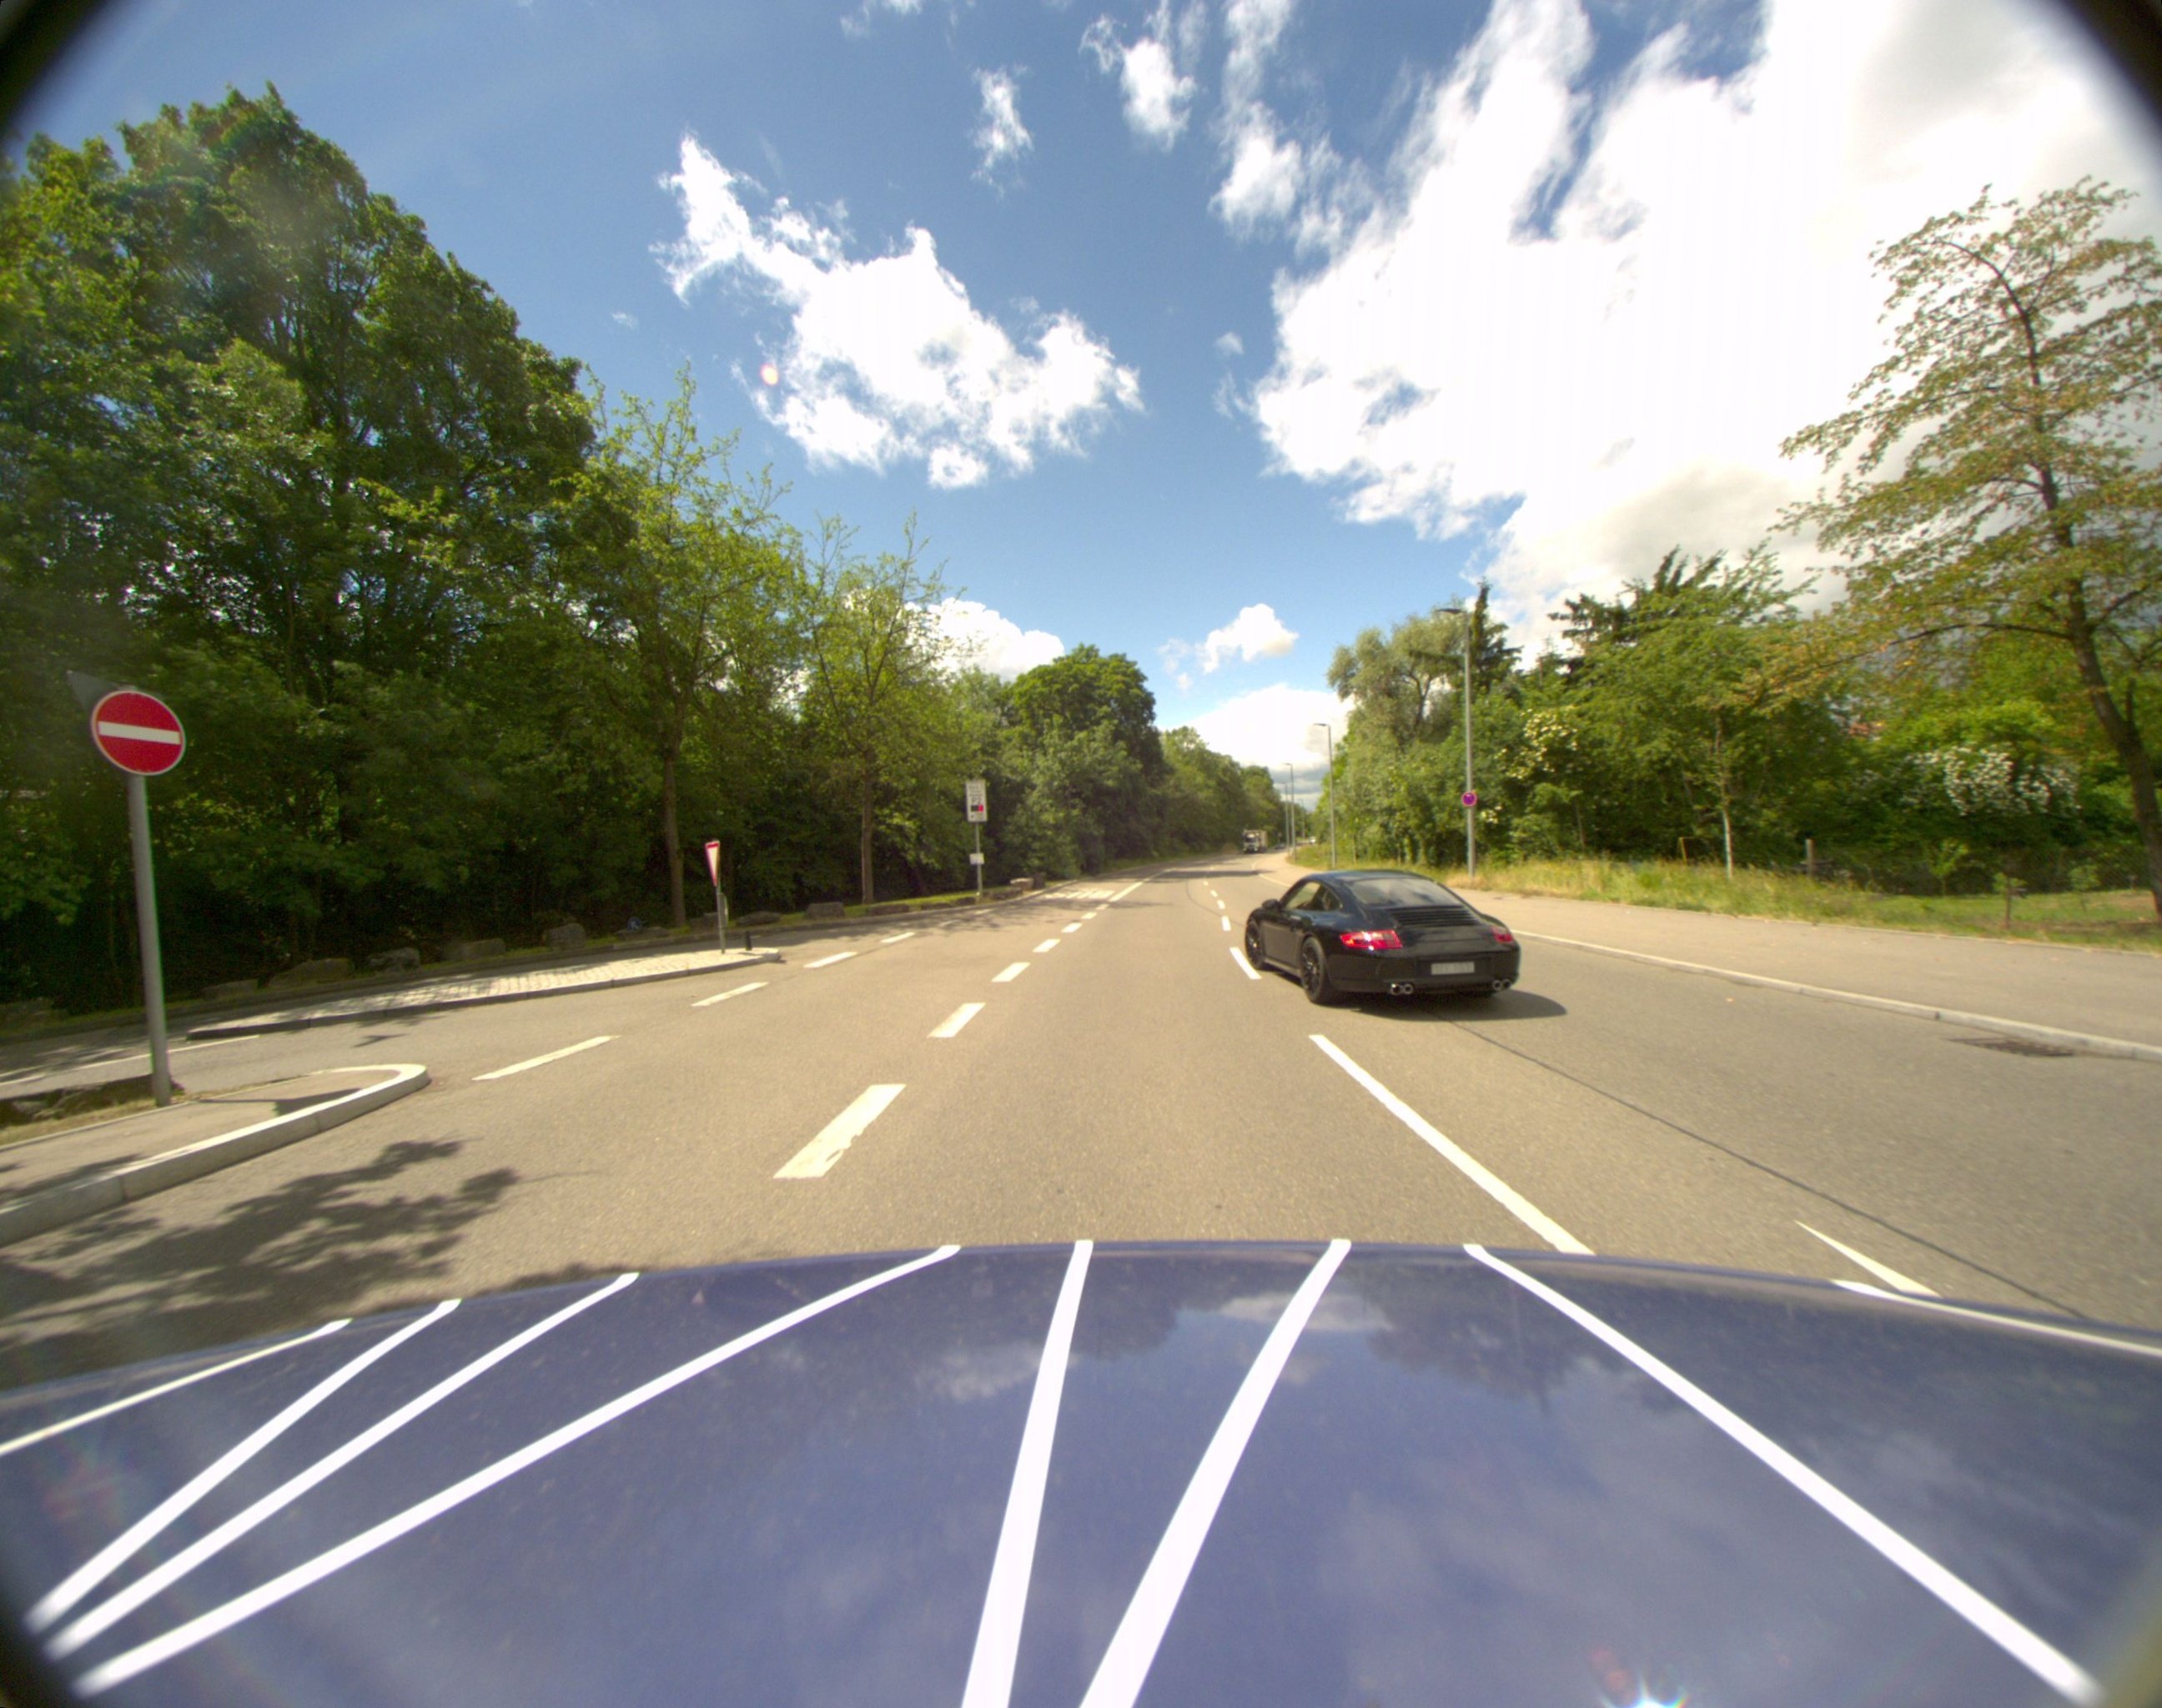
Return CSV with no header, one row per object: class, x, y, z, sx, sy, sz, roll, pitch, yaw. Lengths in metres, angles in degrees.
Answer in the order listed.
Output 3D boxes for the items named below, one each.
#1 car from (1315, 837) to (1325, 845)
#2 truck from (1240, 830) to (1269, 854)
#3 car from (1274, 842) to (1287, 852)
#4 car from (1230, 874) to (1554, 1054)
car,53.811,-2.883,171.048,1.800,1.652,4.005,-1,2,21
truck,28.842,-2.091,125.992,3.236,3.839,9.886,-1,2,22
car,40.775,-1.377,155.240,1.995,2.002,4.005,-1,2,21
car,2.998,0.965,8.341,1.739,1.293,4.003,-2,1,-3
